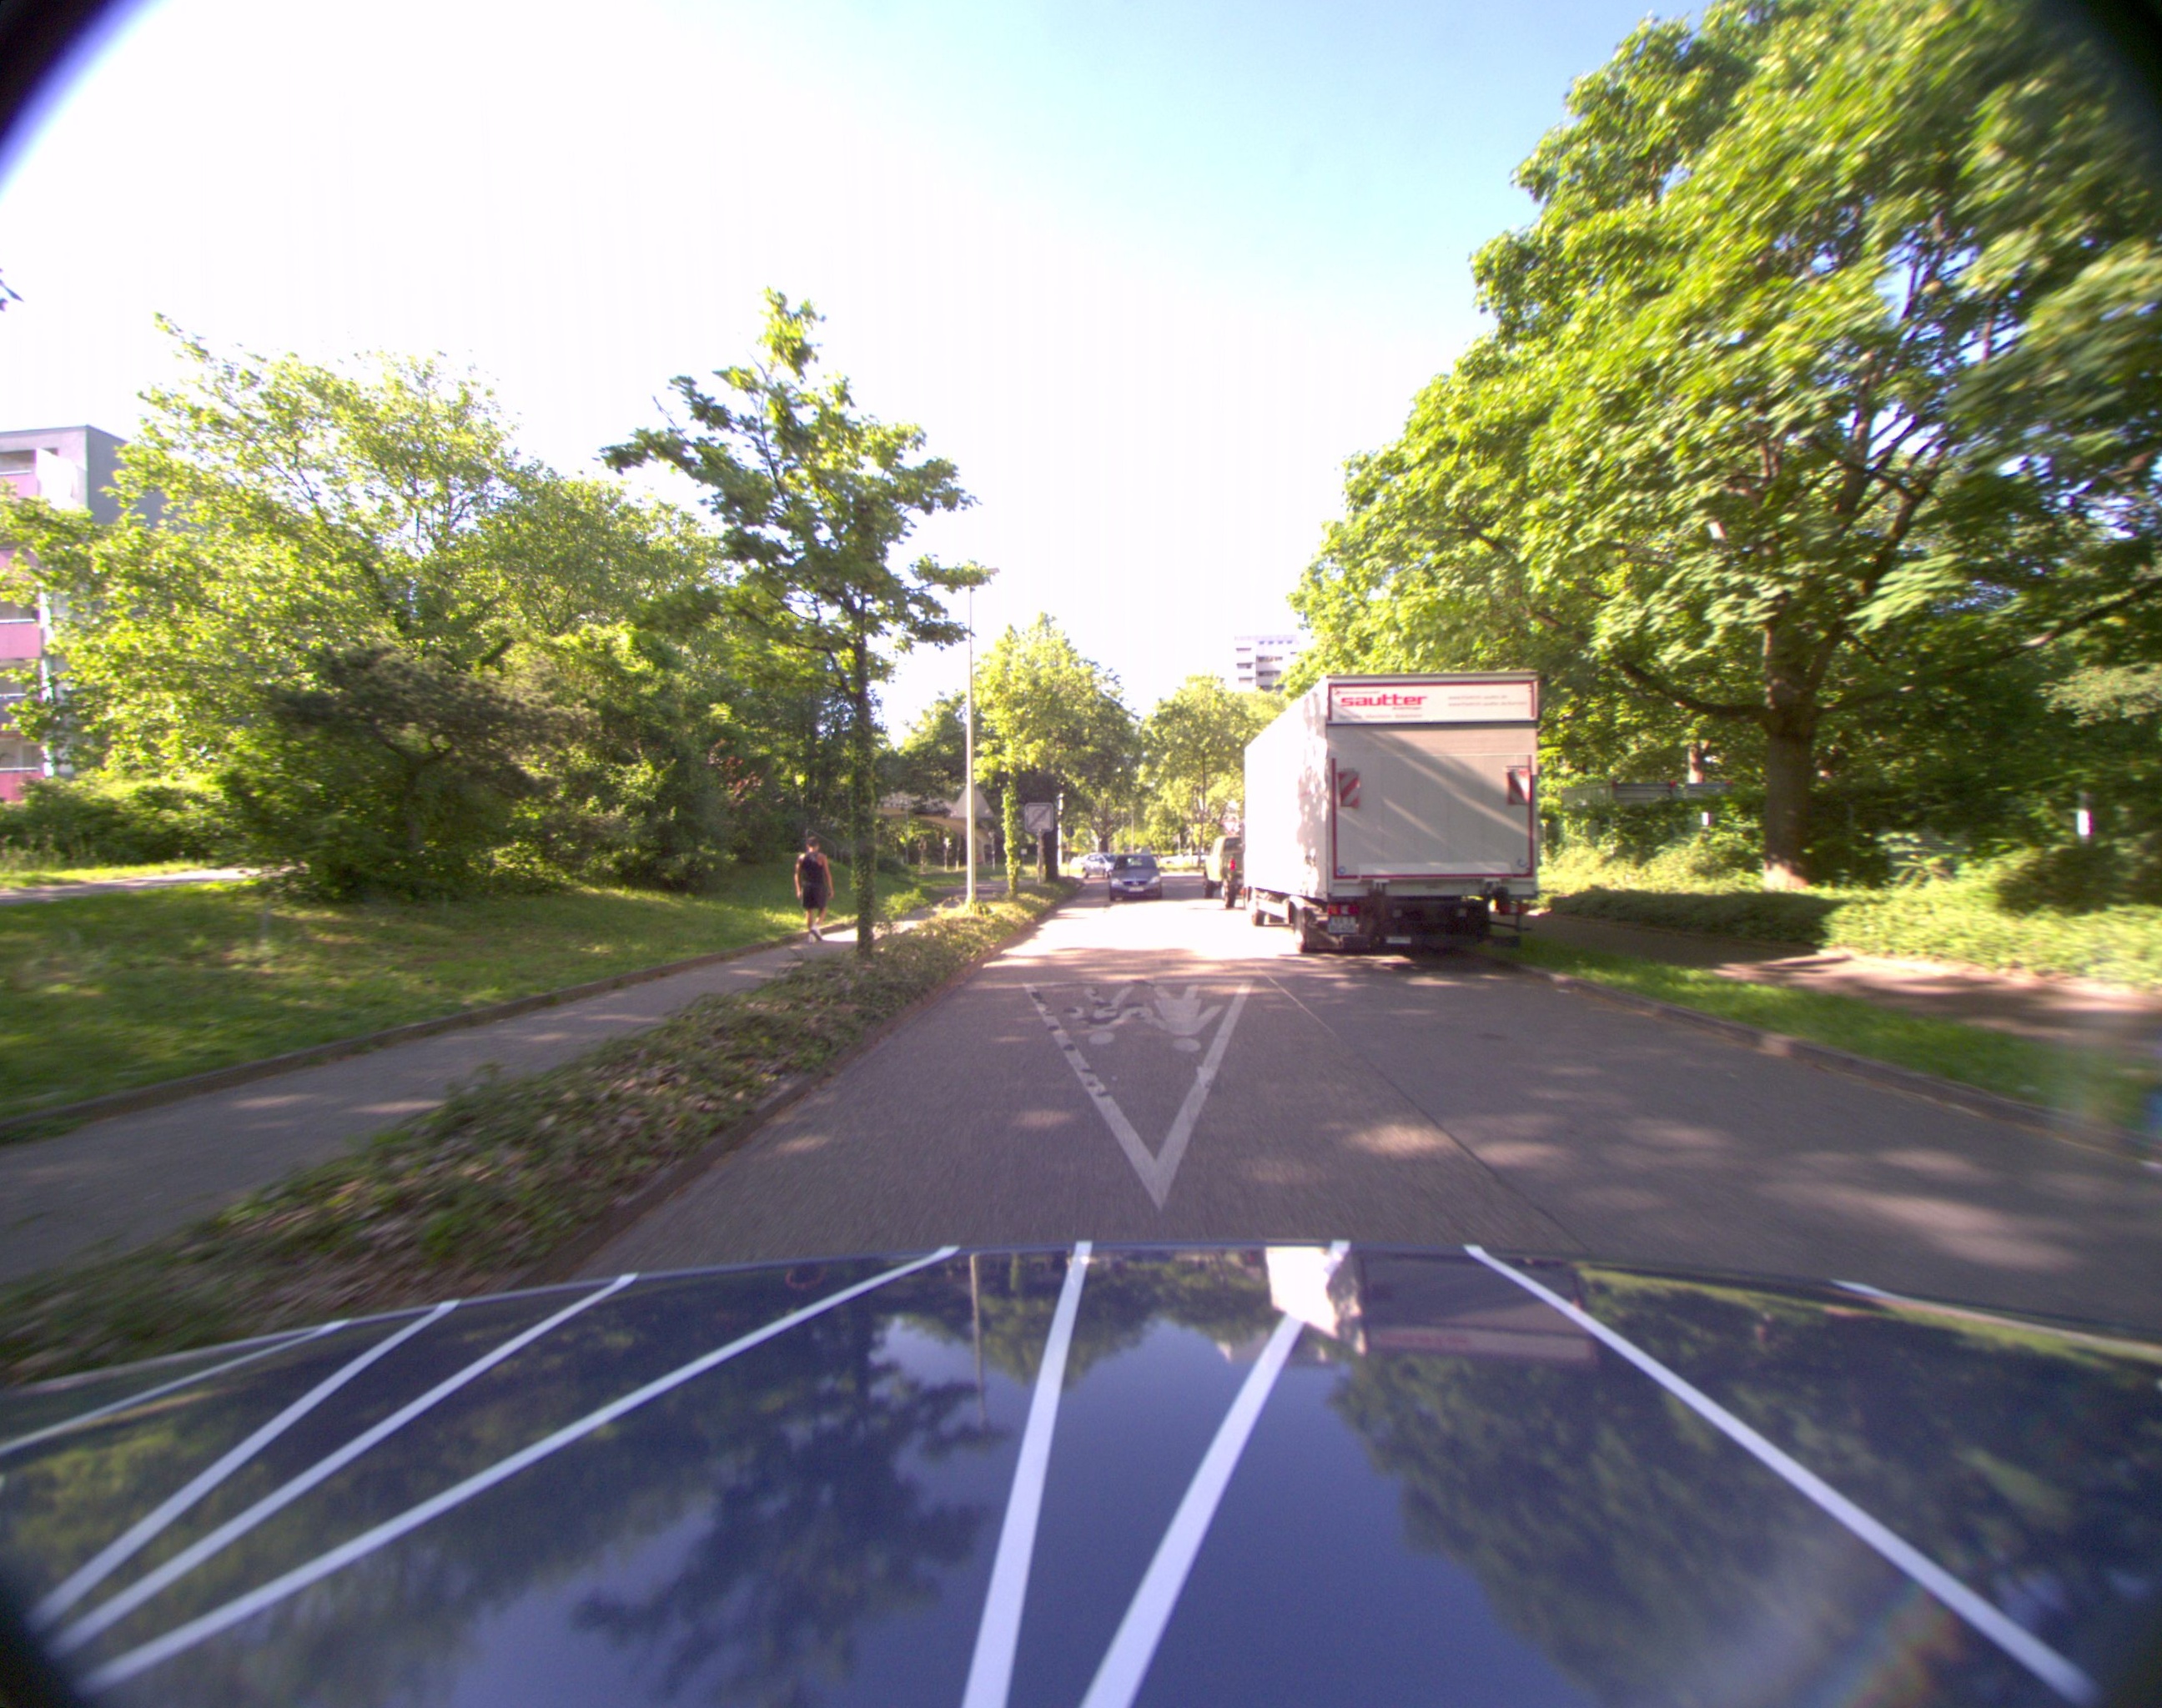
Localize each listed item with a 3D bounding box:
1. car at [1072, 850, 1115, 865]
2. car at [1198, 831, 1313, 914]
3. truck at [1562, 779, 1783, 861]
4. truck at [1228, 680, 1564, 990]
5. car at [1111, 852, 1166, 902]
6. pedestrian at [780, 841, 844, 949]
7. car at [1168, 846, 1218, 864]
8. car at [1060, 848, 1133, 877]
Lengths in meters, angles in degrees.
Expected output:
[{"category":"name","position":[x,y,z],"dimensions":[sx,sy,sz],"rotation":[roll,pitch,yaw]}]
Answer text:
[{"category":"car","position":[1.235,0.329,74.500],"dimensions":[4.061,1.213,1.620],"rotation":[-3,1,9]},{"category":"car","position":[5.015,0.450,22.879],"dimensions":[2.124,2.084,6.584],"rotation":[-1,0,2]},{"category":"truck","position":[15.254,-0.852,19.816],"dimensions":[3.997,2.002,2.204],"rotation":[0,1,1]},{"category":"truck","position":[4.515,-0.240,13.067],"dimensions":[2.741,3.620,8.102],"rotation":[-1,1,3]},{"category":"car","position":[1.947,0.736,26.838],"dimensions":[1.734,1.578,4.000],"rotation":[-1,0,2]},{"category":"pedestrian","position":[-4.663,0.698,13.200],"dimensions":[0.792,1.821,0.671],"rotation":[-1,1,3]},{"category":"car","position":[10.457,0.084,71.110],"dimensions":[4.480,1.384,1.620],"rotation":[-3,1,6]},{"category":"car","position":[0.940,0.577,47.870],"dimensions":[4.322,1.637,1.723],"rotation":[-2,1,37]}]
